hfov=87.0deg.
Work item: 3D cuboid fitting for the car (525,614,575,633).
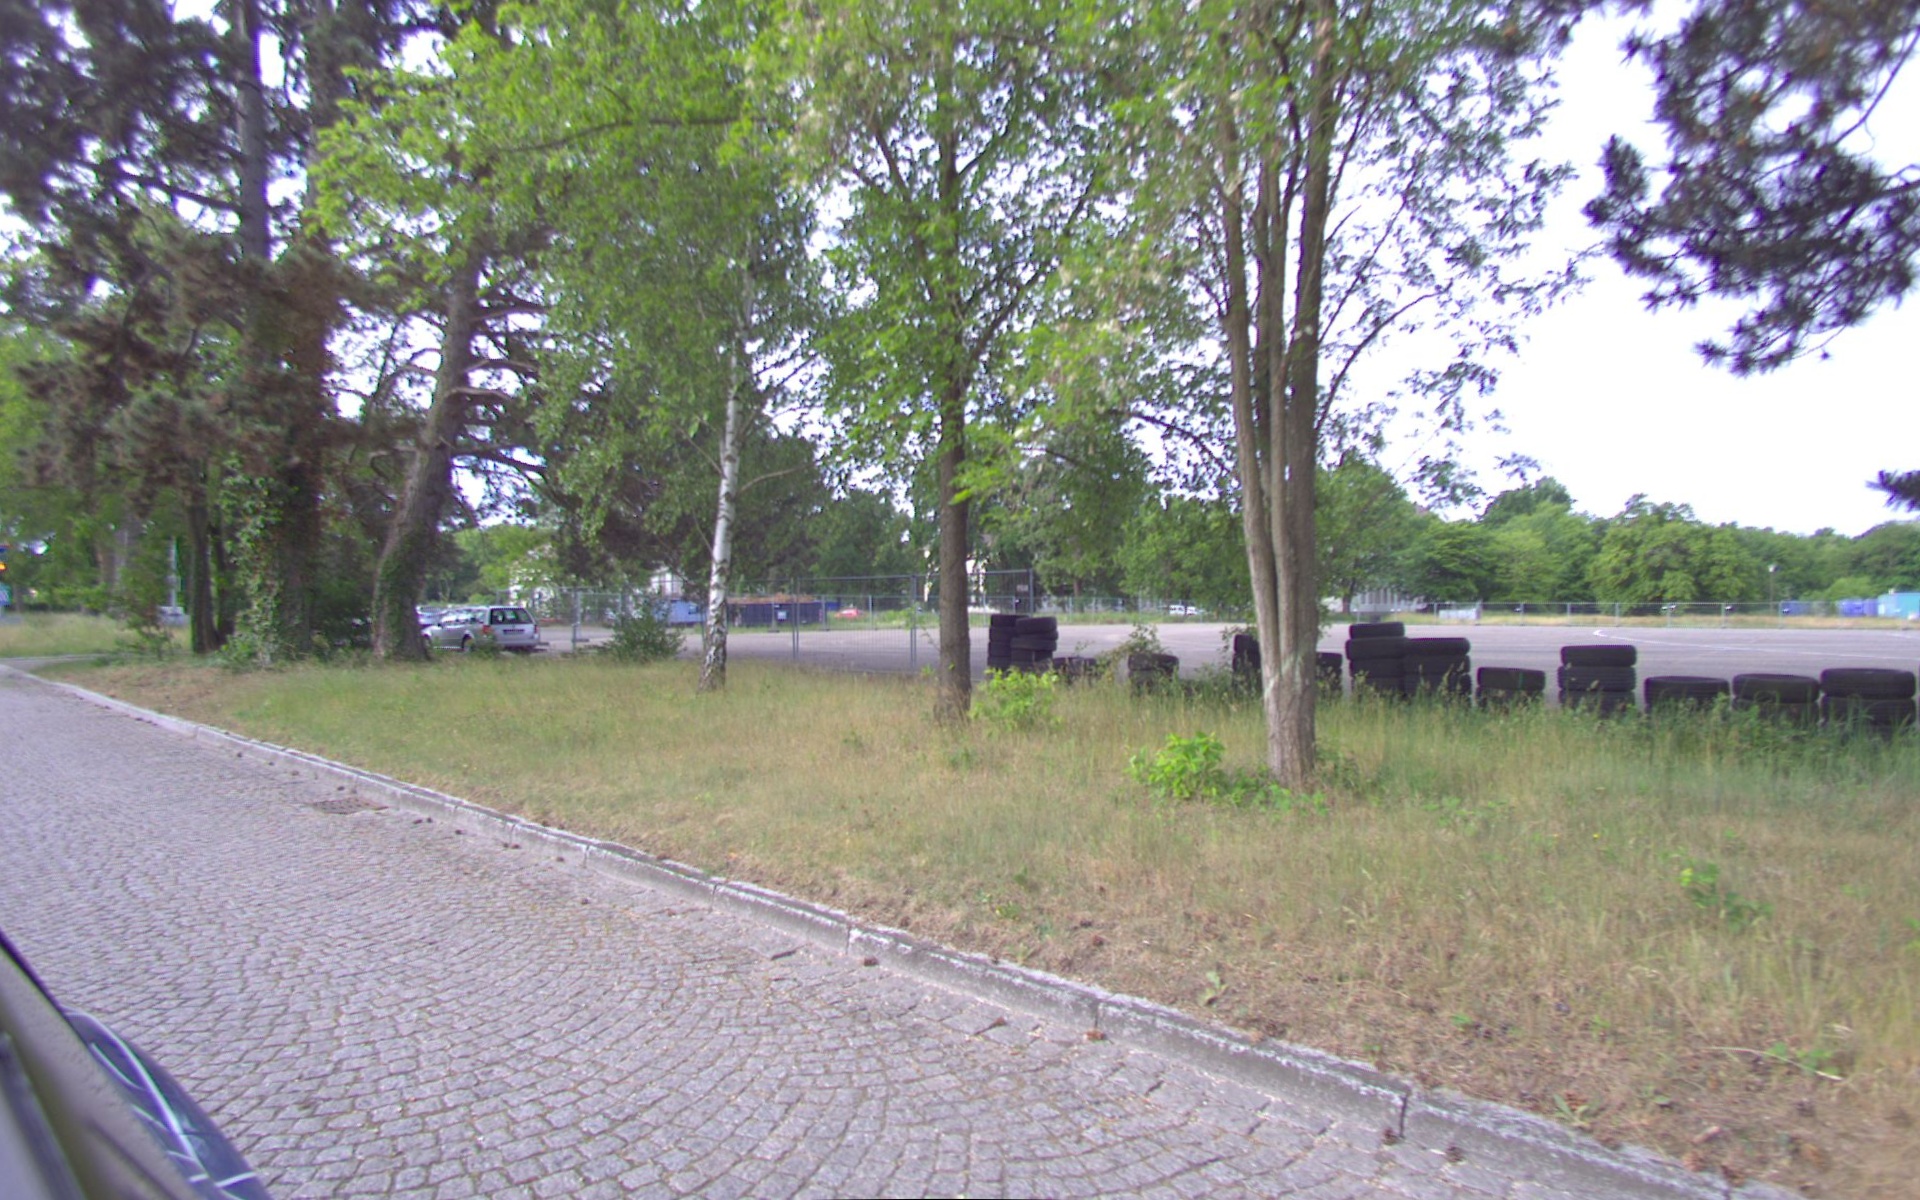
[{"bbox_3d":[-32.750,1.847,80.831,4.397,1.486,1.807,-1,-1,38],"label":"car"}]

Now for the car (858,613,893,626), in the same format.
[{"bbox_3d":[-9.262,2.088,110.527,1.684,1.361,4.411,0,-1,-38],"label":"car"}]

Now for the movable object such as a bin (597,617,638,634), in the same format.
[{"bbox_3d":[-20.130,1.491,59.445,1.953,0.976,1.431,-1,-1,34],"label":"movable object such as a bin"}]

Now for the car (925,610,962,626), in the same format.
[{"bbox_3d":[-1.955,2.050,116.774,1.802,1.736,4.589,0,-1,-41],"label":"car"}]

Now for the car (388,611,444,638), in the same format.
[{"bbox_3d":[-33.598,1.516,62.445,3.894,1.531,1.653,-3,-2,38],"label":"car"}]

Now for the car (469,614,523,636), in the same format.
[{"bbox_3d":[-30.795,1.644,67.129,4.032,1.410,1.617,-1,-1,38],"label":"car"}]

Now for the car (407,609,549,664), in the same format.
[{"bbox_3d":[-13.483,1.017,28.214,4.416,1.427,1.806,-1,-3,39],"label":"car"}]

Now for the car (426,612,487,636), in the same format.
[{"bbox_3d":[-32.216,1.532,64.709,4.397,1.486,1.807,-1,-1,38],"label":"car"}]

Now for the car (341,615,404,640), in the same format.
[{"bbox_3d":[-35.163,1.610,60.523,4.315,1.436,1.807,-1,-1,38],"label":"car"}]

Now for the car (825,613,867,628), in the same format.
[{"bbox_3d":[-11.948,2.135,105.858,4.400,1.486,1.806,-1,-1,41],"label":"car"}]

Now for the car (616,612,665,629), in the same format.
[{"bbox_3d":[-27.575,1.769,87.305,4.394,1.486,1.808,-1,-1,36],"label":"car"}]
